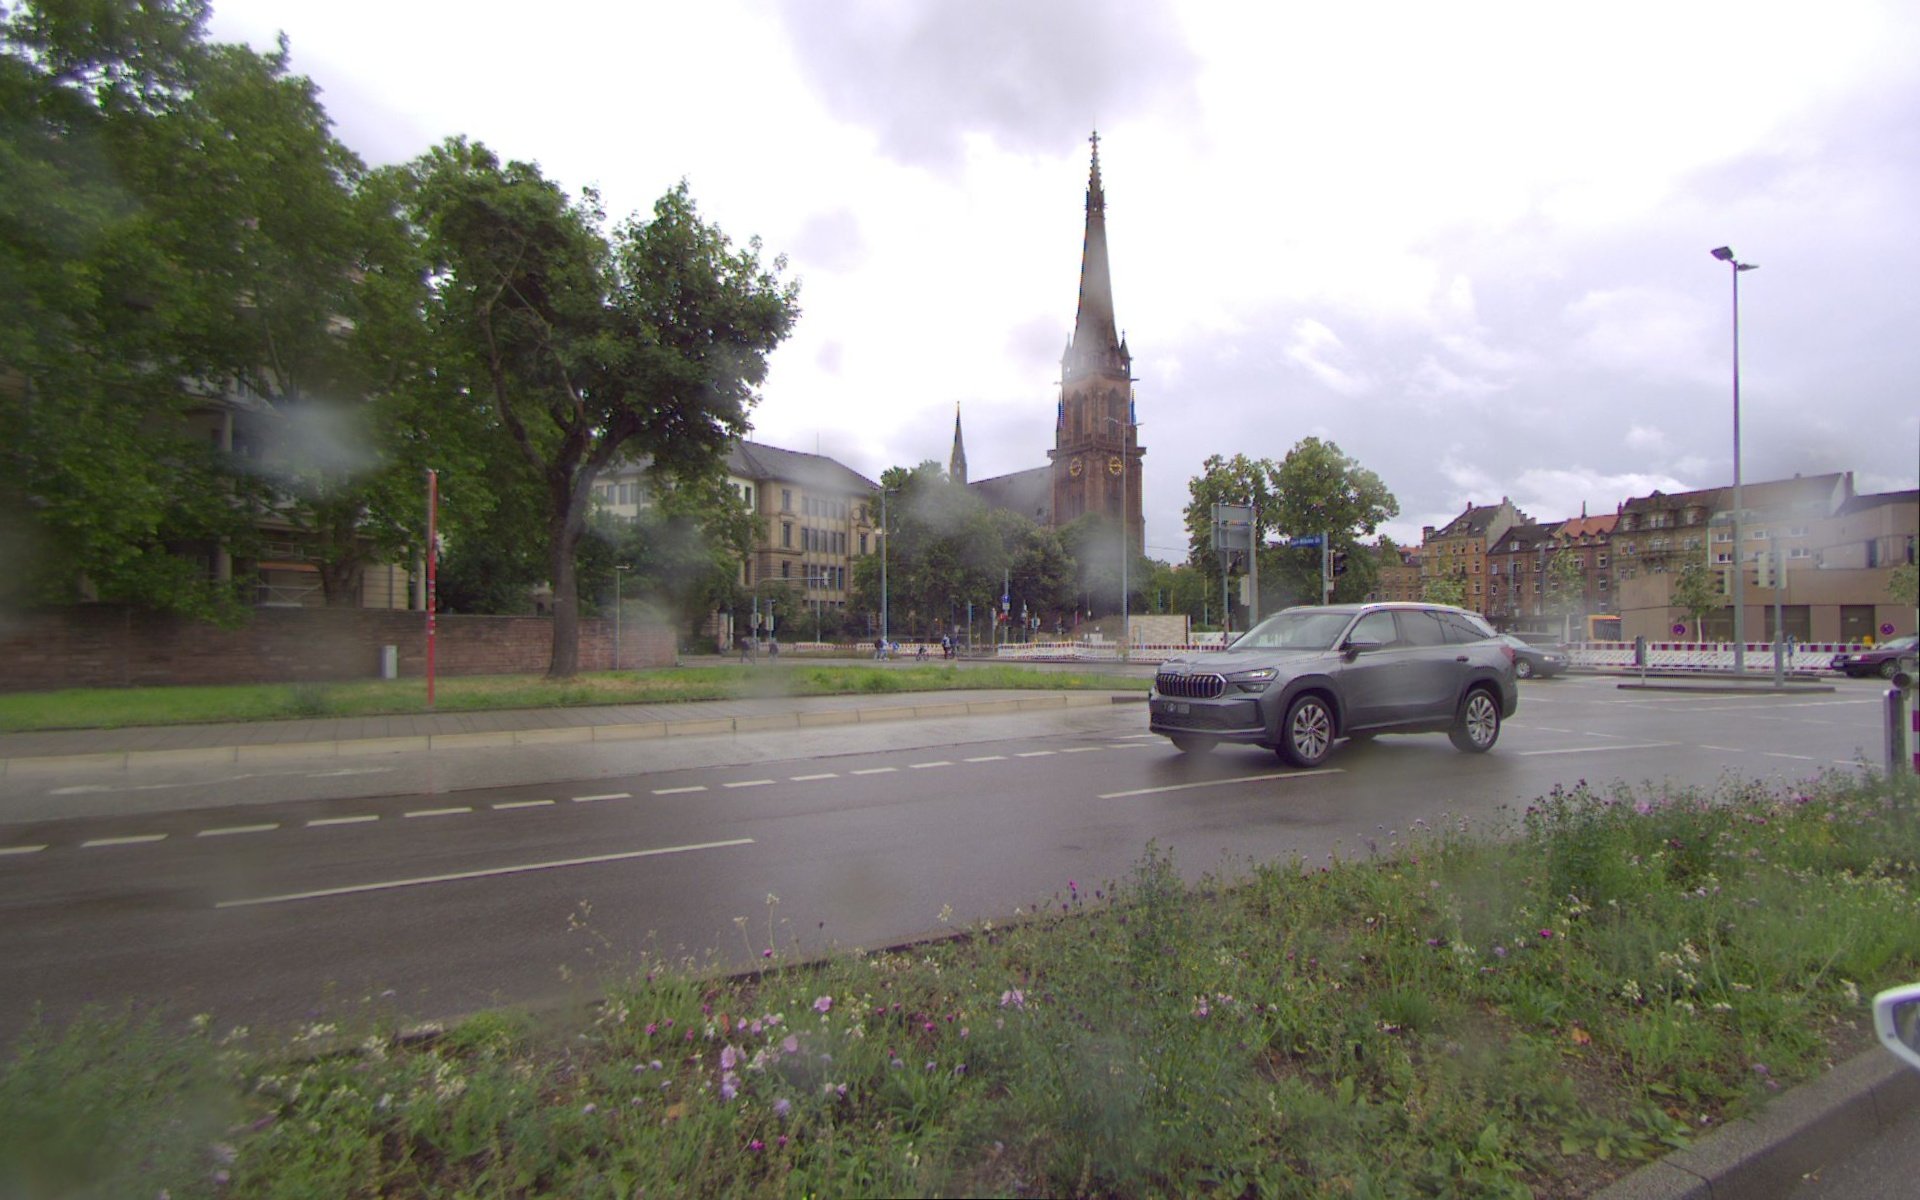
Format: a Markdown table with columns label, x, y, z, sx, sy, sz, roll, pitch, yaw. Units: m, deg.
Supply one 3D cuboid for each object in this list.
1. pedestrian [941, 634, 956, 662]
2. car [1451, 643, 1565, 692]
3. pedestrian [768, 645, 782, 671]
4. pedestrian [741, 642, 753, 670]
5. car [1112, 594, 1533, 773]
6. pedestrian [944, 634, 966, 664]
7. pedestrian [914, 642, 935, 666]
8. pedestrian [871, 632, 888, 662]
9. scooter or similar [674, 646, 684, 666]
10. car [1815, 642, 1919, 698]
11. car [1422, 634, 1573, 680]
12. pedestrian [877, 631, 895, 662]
| label | x | y | z | sx | sy | sz | roll | pitch | yaw |
| --- | --- | --- | --- | --- | --- | --- | --- | --- | --- |
| pedestrian | -0.746 | 3.155 | 65.781 | 0.765 | 1.801 | 0.721 | 1 | -2 | -29 |
| car | 20.919 | 2.525 | 38.365 | 3.754 | 1.728 | 1.707 | -1 | -2 | 32 |
| pedestrian | -10.827 | 3.381 | 58.752 | 0.662 | 1.520 | 0.774 | 0 | -2 | 1 |
| pedestrian | -14.734 | 3.877 | 69.566 | 0.596 | 1.915 | 0.601 | 1 | -2 | -34 |
| car | 4.135 | 0.875 | 11.336 | 4.548 | 1.657 | 1.985 | 1 | -4 | -30 |
| pedestrian | -0.357 | 3.414 | 69.981 | 0.981 | 2.040 | 1.305 | -1 | -2 | 35 |
| pedestrian | -2.375 | 3.634 | 67.410 | 0.918 | 1.560 | 1.057 | -1 | -2 | 35 |
| pedestrian | -5.549 | 3.227 | 69.440 | 0.945 | 2.040 | 0.852 | 1 | -2 | -29 |
| scooter or similar | -15.375 | 3.071 | 55.029 | 0.274 | 1.096 | 1.078 | 0 | -2 | -3 |
| car | 30.742 | 2.243 | 32.487 | 4.370 | 1.728 | 1.712 | 0 | -2 | 12 |
| car | 17.715 | 1.836 | 33.269 | 1.601 | 1.421 | 4.165 | 1 | -2 | -34 |
| pedestrian | -5.035 | 3.164 | 68.604 | 0.945 | 2.040 | 0.852 | 1 | -2 | -29 |
